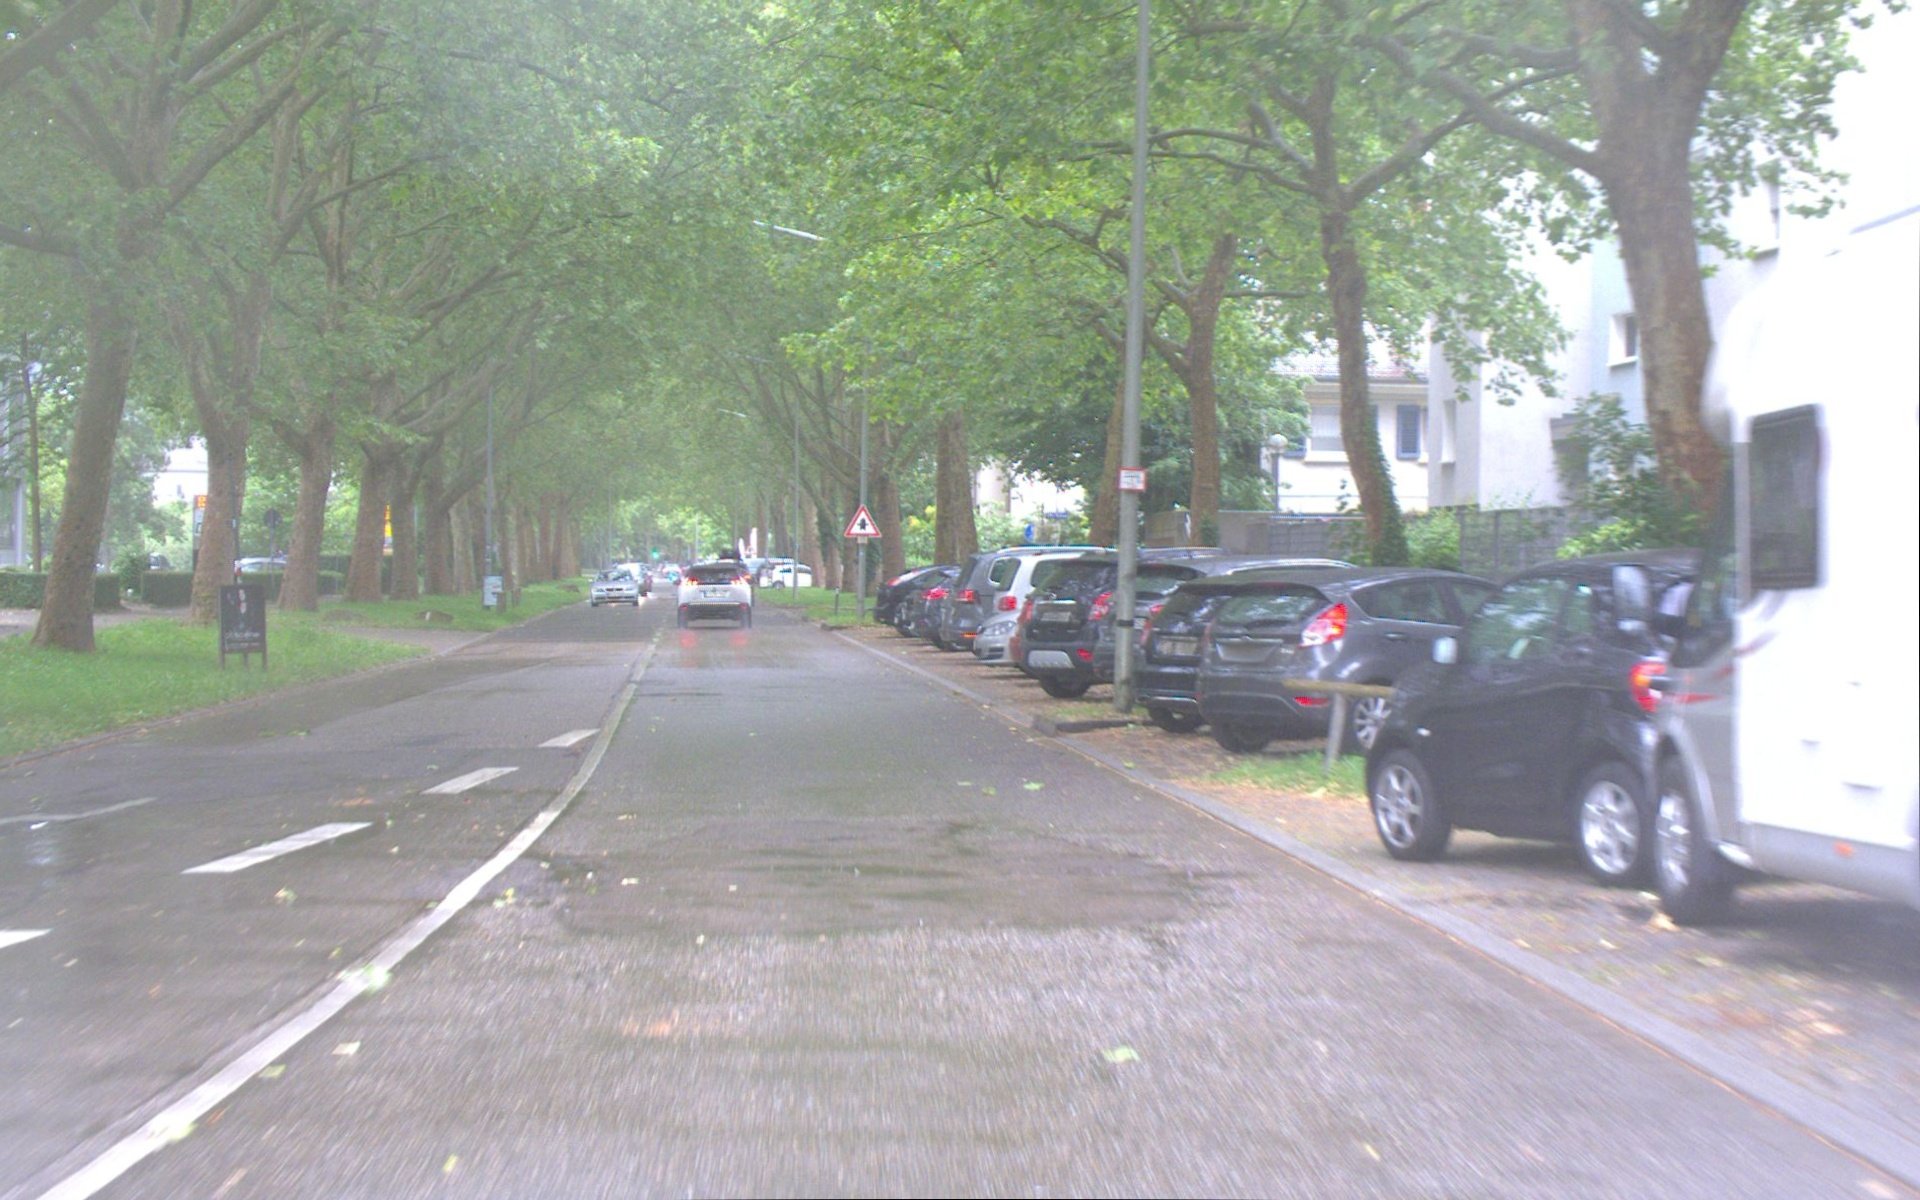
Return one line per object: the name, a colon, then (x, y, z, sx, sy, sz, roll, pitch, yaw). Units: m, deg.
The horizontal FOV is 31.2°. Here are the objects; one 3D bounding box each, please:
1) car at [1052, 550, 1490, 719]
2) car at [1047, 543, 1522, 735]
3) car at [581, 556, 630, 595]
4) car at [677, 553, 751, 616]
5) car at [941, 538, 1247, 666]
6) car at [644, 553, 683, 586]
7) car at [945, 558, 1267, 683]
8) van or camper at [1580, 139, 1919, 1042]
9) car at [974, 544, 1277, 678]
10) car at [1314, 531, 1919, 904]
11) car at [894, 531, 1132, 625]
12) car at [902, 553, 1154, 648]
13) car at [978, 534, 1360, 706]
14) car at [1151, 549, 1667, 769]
car: (3.186, 0.350, 35.124, 3.987, 1.596, 2.036, 1, 1, -31)
car: (2.947, 0.339, 30.975, 3.987, 1.596, 1.803, 1, 1, -34)
car: (-13.442, -0.935, 130.463, 1.678, 1.384, 4.550, 0, 1, -4)
car: (-5.952, -0.387, 83.143, 1.706, 1.406, 3.645, -1, 1, -4)
car: (1.965, 0.020, 51.323, 4.337, 1.756, 1.819, 1, 1, -4)
car: (-13.482, -1.412, 156.561, 1.706, 1.406, 3.645, -1, 1, -4)
car: (1.894, 0.255, 45.365, 3.986, 1.507, 1.801, 1, 1, -6)
van or camper: (4.083, -0.035, 11.843, 2.318, 2.798, 6.865, 1, 1, -3)
car: (2.269, 0.140, 47.842, 3.986, 1.721, 1.801, 1, 1, -3)
car: (3.195, 0.513, 17.089, 1.686, 1.647, 2.947, 1, 1, -20)
car: (0.959, -0.419, 63.640, 4.209, 1.650, 1.914, 1, 1, -5)
car: (1.137, -0.004, 58.321, 4.034, 1.436, 1.686, -2, 1, -7)
car: (2.325, 0.175, 38.050, 3.855, 1.691, 1.838, -2, 3, -32)
car: (3.573, 0.447, 27.202, 3.757, 1.596, 1.803, 1, 1, -34)
